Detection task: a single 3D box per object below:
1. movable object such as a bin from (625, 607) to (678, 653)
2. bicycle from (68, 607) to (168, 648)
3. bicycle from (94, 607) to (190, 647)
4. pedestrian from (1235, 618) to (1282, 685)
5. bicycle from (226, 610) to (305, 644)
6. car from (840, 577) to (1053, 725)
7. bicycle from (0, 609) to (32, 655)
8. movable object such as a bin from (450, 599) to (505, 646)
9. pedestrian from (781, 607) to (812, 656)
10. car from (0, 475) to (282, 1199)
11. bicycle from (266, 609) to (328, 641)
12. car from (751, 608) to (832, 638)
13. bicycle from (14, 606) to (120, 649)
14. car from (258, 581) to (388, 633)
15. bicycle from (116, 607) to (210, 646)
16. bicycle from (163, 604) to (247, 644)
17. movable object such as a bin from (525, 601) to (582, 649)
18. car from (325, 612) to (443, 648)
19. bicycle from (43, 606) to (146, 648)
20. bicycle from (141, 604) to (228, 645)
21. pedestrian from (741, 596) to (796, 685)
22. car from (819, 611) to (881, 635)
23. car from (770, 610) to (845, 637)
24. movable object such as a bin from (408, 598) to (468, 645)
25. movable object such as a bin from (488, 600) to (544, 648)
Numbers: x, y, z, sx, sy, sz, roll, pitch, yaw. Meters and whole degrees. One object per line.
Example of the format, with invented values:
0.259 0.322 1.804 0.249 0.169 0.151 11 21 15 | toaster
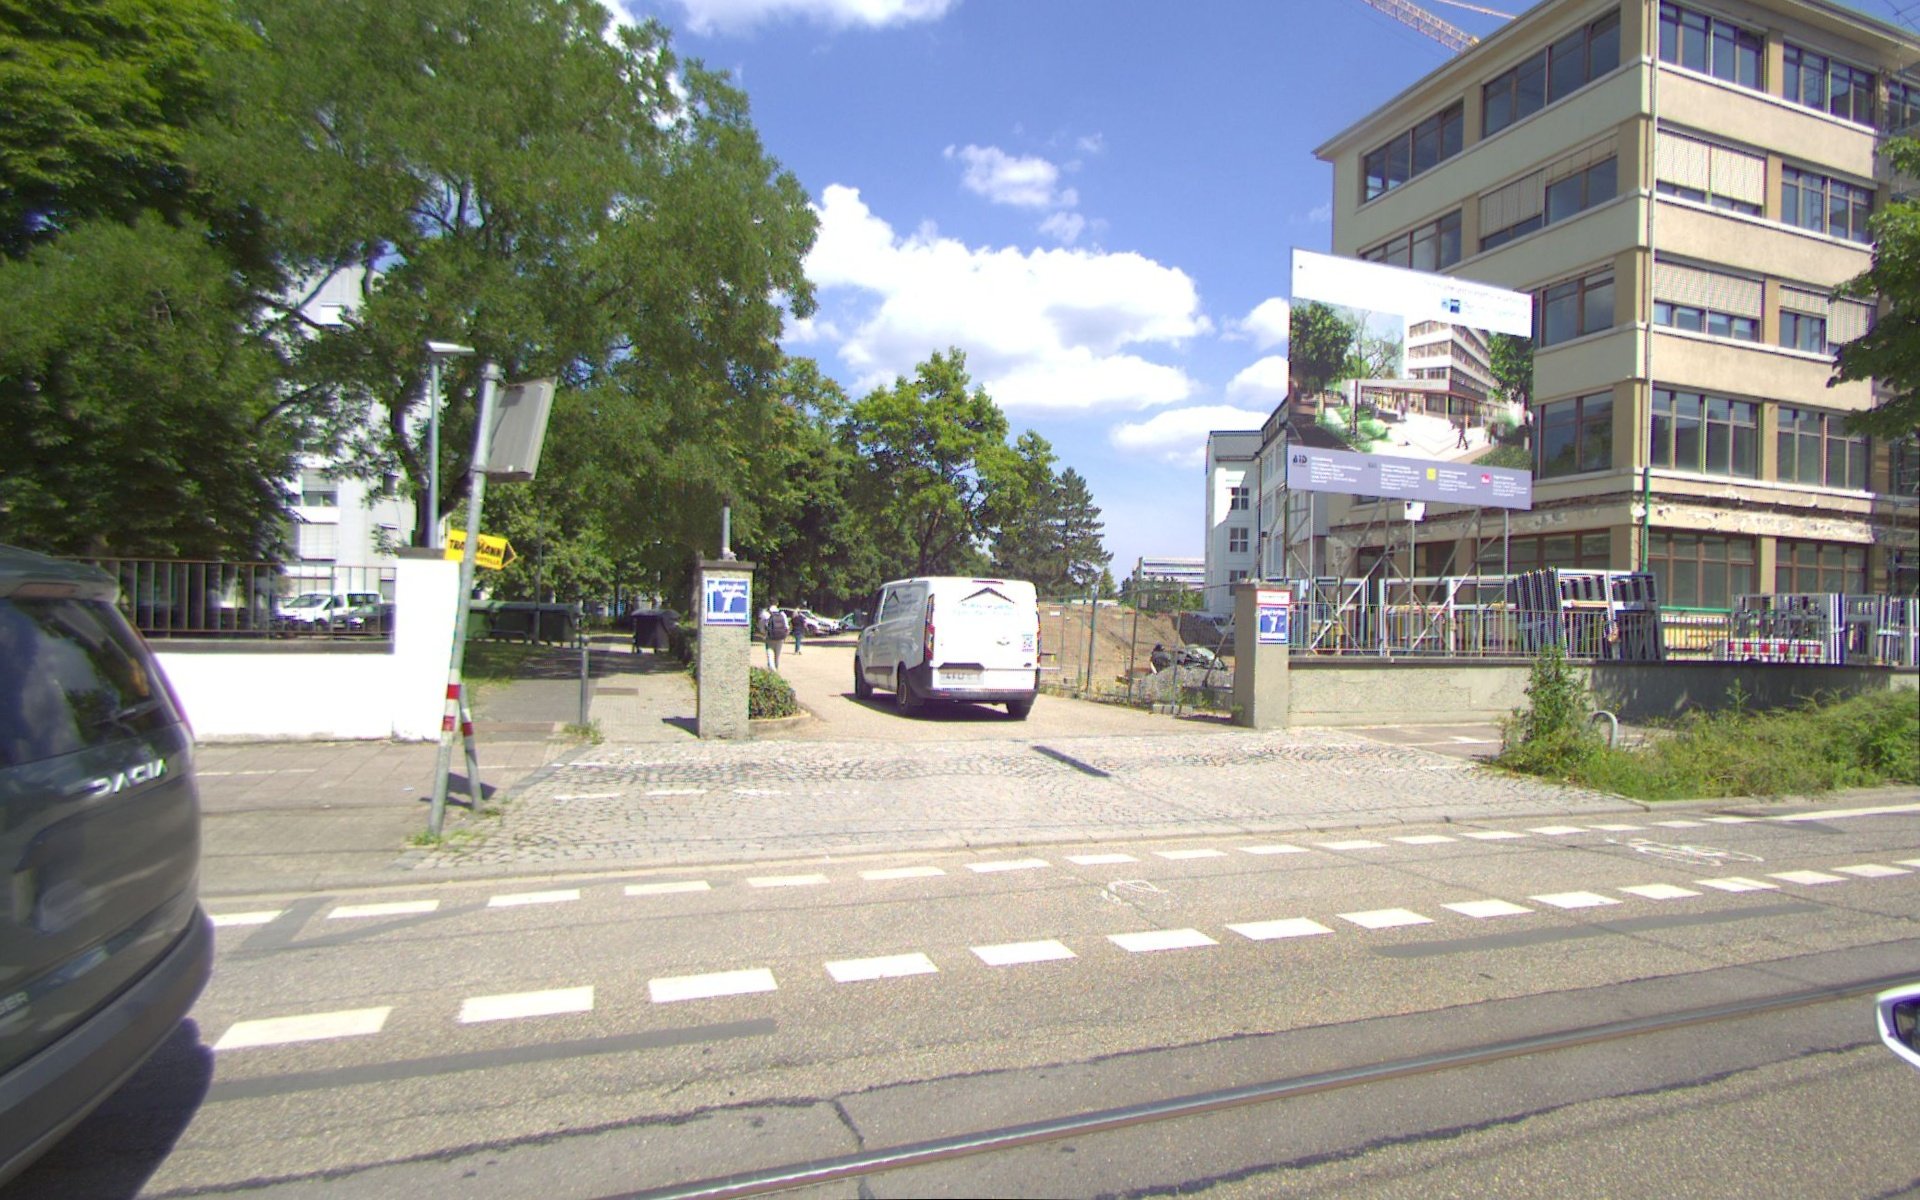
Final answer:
-9.810 0.938 31.954 1.140 1.412 1.114 1 0 31 | movable object such as a bin
-22.670 0.732 27.058 2.214 1.024 0.607 2 -1 4 | bicycle
-22.561 0.732 27.722 2.214 1.024 0.607 2 -1 4 | bicycle
8.423 1.437 28.404 0.950 1.843 0.869 2 -1 -11 | pedestrian
-22.042 0.853 31.889 2.214 0.971 0.608 2 -1 9 | bicycle
-0.404 0.718 15.862 1.949 1.973 4.560 2 -1 -20 | car
-22.944 0.713 23.357 2.214 1.024 0.607 2 -1 4 | bicycle
-15.904 0.739 33.125 1.236 1.499 1.048 1 0 8 | movable object such as a bin
-5.843 1.117 35.892 1.020 1.672 1.047 2 0 -10 | pedestrian
-3.700 0.610 1.679 3.940 1.673 1.599 1 -1 -21 | car
-21.644 0.821 32.784 1.695 0.971 0.614 2 -1 9 | bicycle
-10.301 1.445 61.641 4.428 1.630 2.002 2 -3 8 | car
-22.785 0.698 25.652 2.214 1.024 0.607 2 -1 4 | bicycle
-26.756 0.313 42.412 1.959 2.040 4.778 1 -1 8 | car
-22.519 0.742 28.378 2.214 1.024 0.607 2 -1 4 | bicycle
-22.368 0.710 29.771 2.214 1.096 0.608 2 -1 9 | bicycle
-13.241 0.818 32.762 1.298 1.499 1.208 1 0 5 | movable object such as a bin
-23.894 1.235 41.895 1.796 1.370 4.630 2 -1 8 | car
-22.748 0.699 26.411 2.214 1.024 0.607 2 -1 4 | bicycle
-22.496 0.706 29.140 2.214 1.096 0.608 2 -1 9 | bicycle
-3.885 0.801 20.349 0.864 1.752 1.074 2 0 -22 | pedestrian
-8.378 1.755 76.661 4.429 1.619 1.726 2 0 7 | car
-9.710 1.481 64.125 4.429 1.552 1.727 2 -1 7 | car
-17.345 0.697 33.372 1.381 1.499 1.048 1 0 8 | movable object such as a bin
-14.545 0.779 32.961 1.334 1.499 1.096 1 0 -3 | movable object such as a bin
